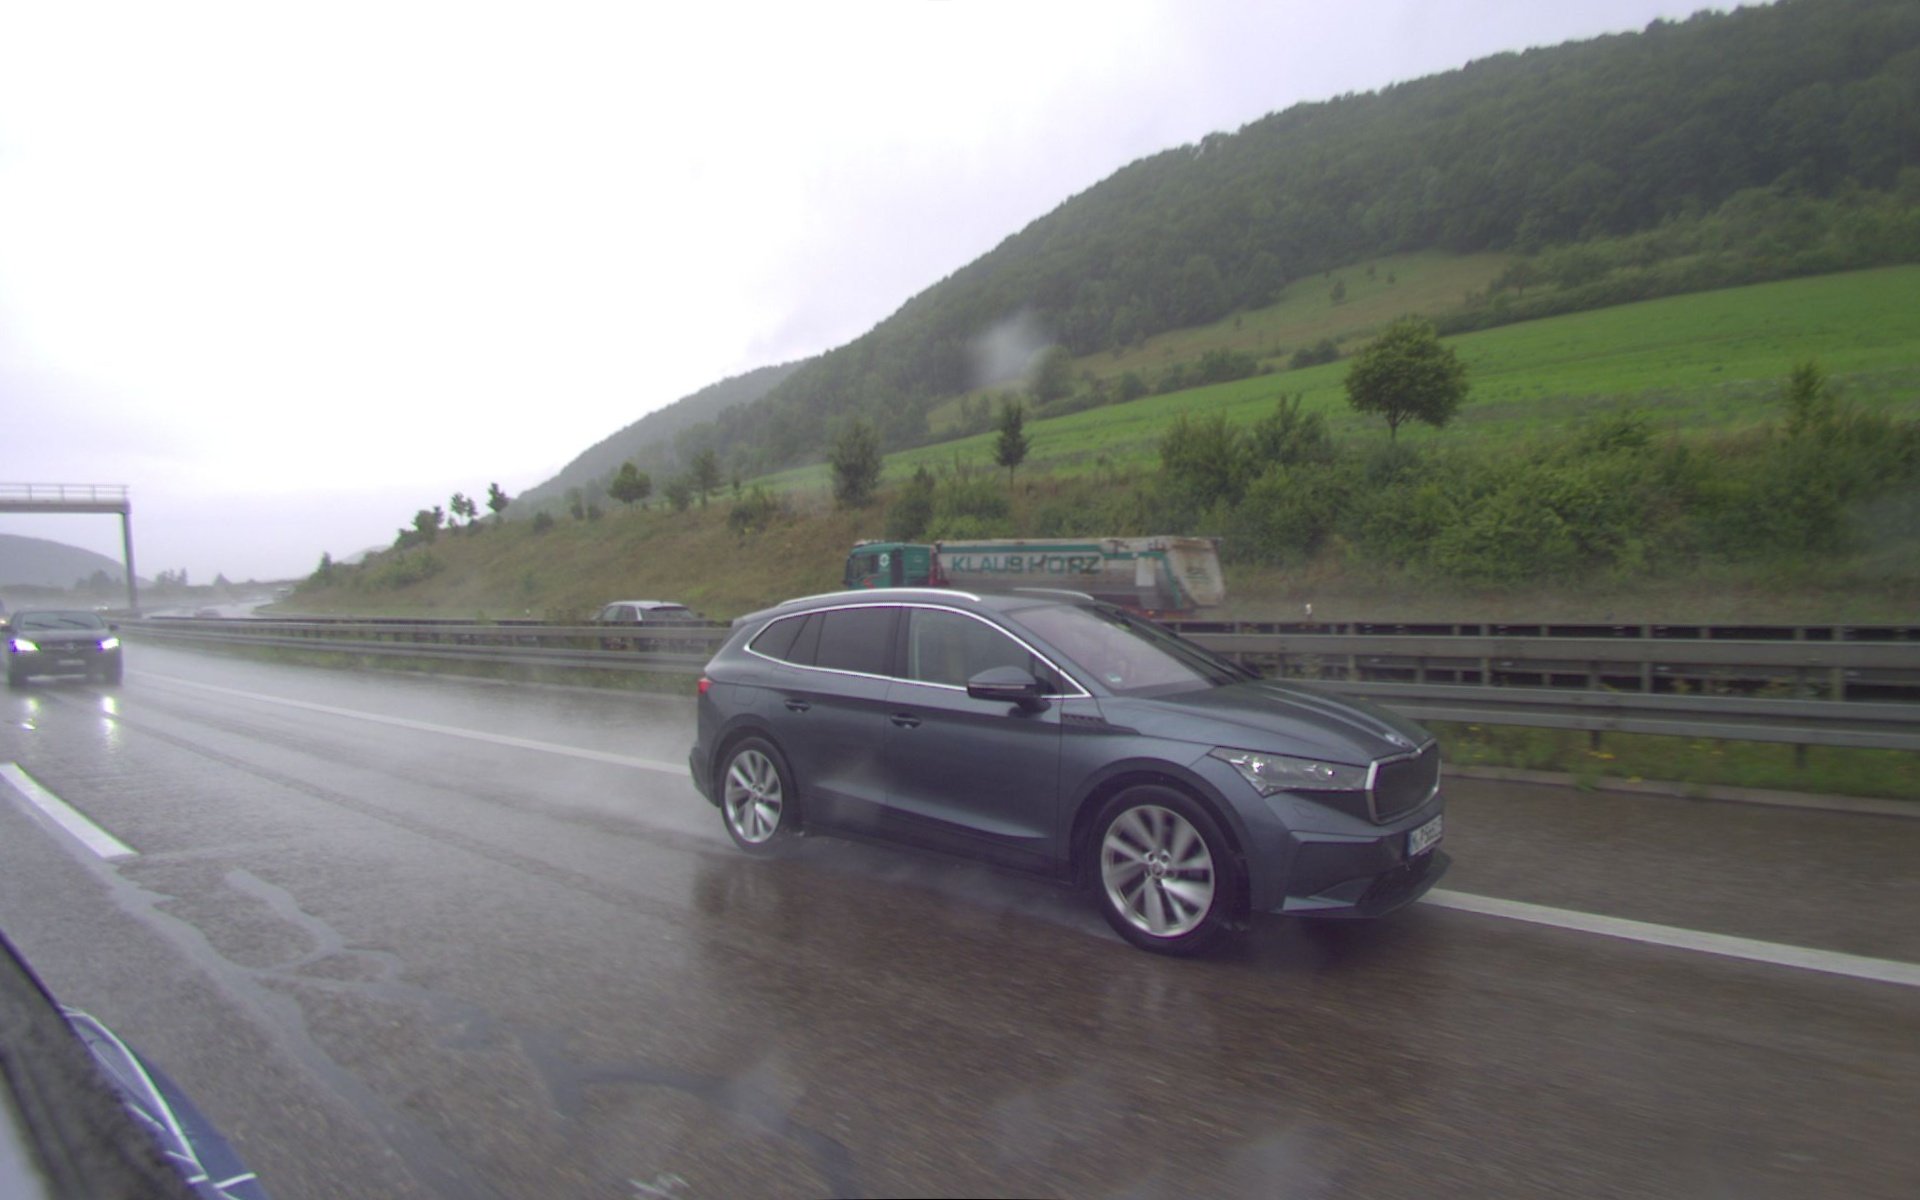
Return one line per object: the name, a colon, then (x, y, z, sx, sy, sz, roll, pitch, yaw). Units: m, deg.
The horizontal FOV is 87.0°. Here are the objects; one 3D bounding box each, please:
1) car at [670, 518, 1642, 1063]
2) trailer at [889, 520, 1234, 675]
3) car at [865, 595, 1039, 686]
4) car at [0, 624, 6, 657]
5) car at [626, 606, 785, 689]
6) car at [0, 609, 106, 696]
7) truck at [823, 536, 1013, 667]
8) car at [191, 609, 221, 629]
car: (0.655, 0.614, 5.529, 4.907, 1.696, 1.973, 0, -1, 41)
trailer: (2.379, 0.005, 27.222, 9.391, 3.517, 2.691, -1, 0, 41)
car: (-0.244, 0.935, 24.866, 3.997, 2.029, 1.894, -1, 0, 40)
car: (-61.944, 2.585, 63.910, 3.929, 2.029, 1.963, -2, -1, 39)
car: (-6.316, 1.116, 24.922, 3.998, 1.860, 1.840, -1, -1, 41)
car: (-20.836, 1.112, 22.829, 3.747, 1.715, 1.791, 0, 2, 41)
truck: (-1.347, 0.071, 30.508, 5.308, 3.569, 2.688, -1, 0, 41)
car: (-70.515, 1.763, 94.639, 3.684, 1.807, 1.660, -1, 0, 44)
